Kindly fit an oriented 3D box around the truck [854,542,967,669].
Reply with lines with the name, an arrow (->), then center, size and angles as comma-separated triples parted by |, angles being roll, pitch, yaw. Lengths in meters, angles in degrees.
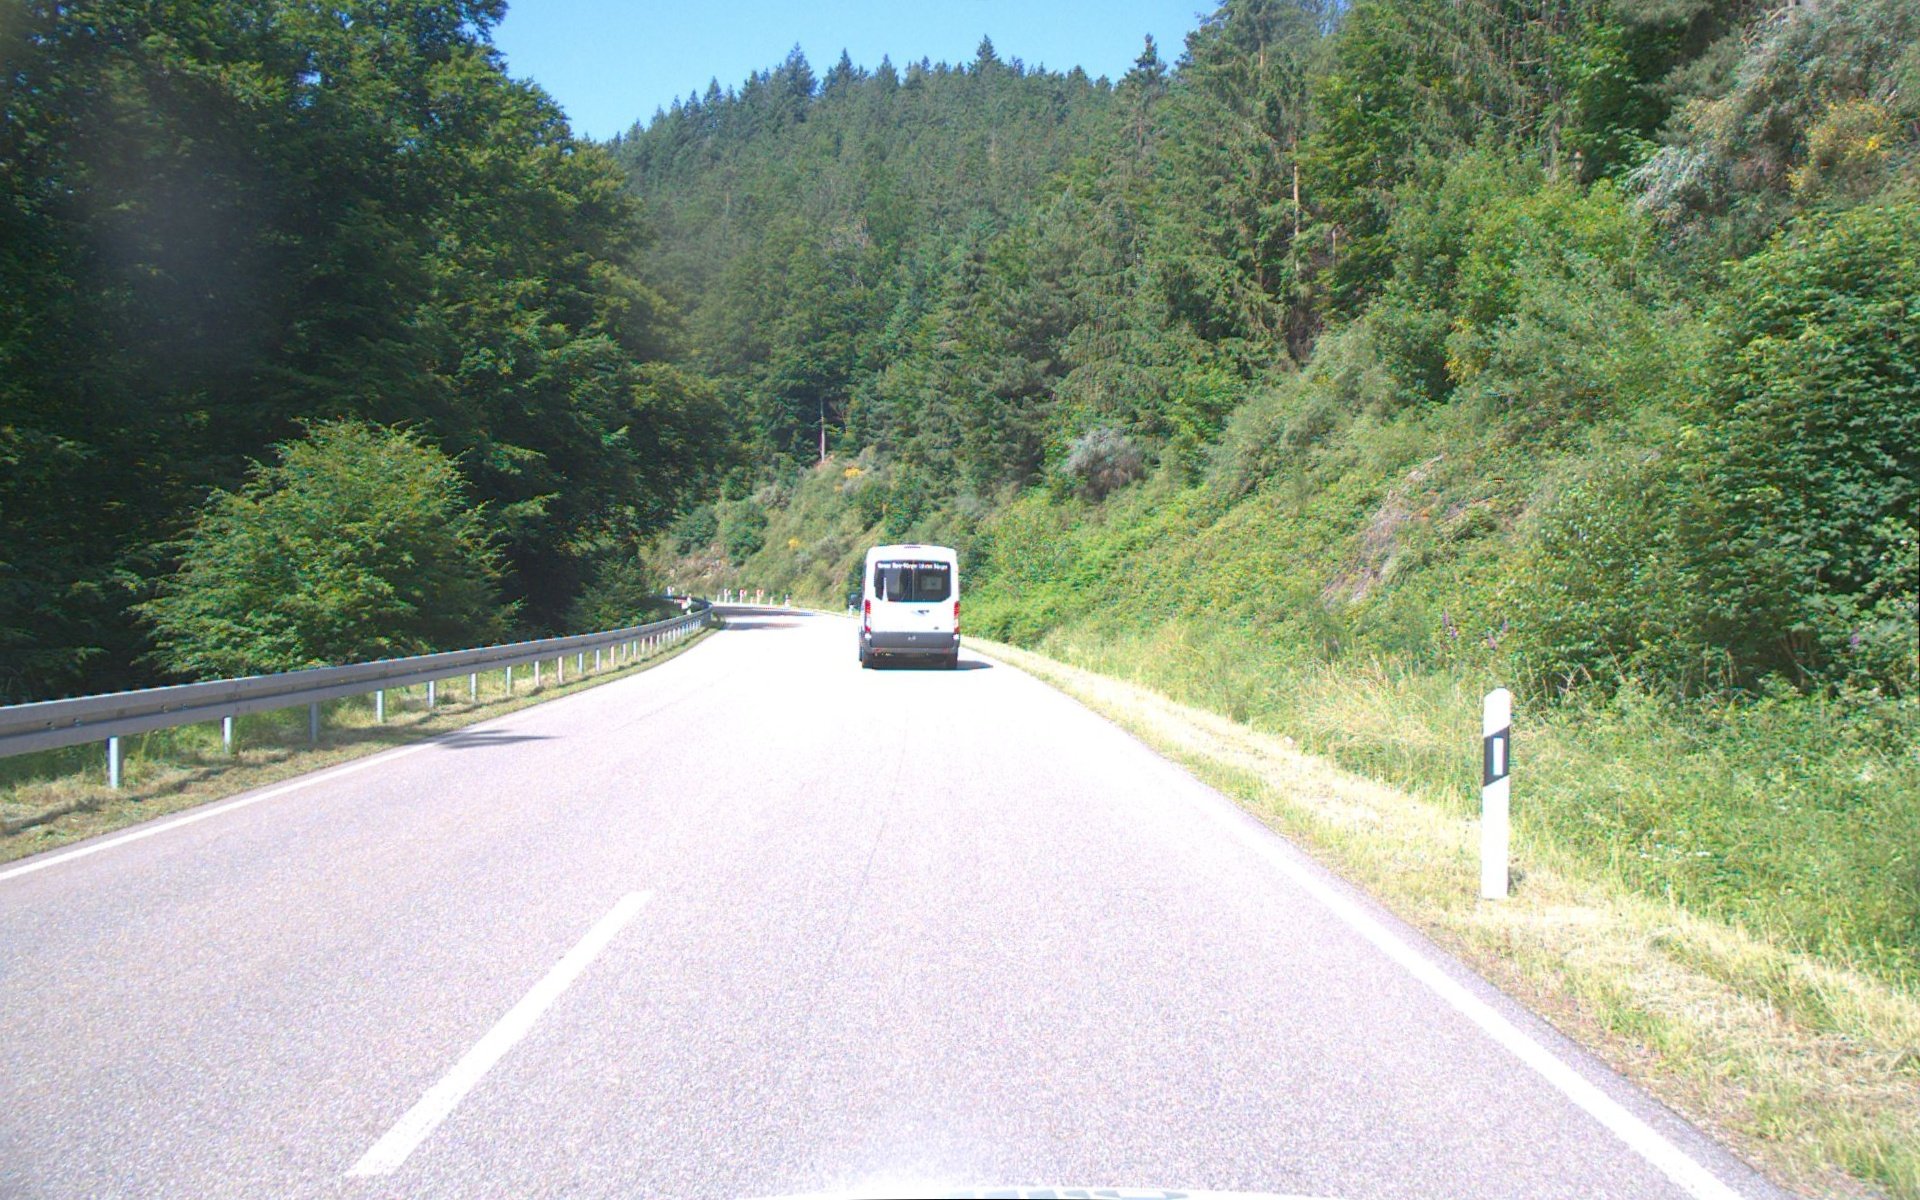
truck -> -1.130, 0.101, 35.116 | 2.043, 2.502, 4.869 | 0, 0, -6
